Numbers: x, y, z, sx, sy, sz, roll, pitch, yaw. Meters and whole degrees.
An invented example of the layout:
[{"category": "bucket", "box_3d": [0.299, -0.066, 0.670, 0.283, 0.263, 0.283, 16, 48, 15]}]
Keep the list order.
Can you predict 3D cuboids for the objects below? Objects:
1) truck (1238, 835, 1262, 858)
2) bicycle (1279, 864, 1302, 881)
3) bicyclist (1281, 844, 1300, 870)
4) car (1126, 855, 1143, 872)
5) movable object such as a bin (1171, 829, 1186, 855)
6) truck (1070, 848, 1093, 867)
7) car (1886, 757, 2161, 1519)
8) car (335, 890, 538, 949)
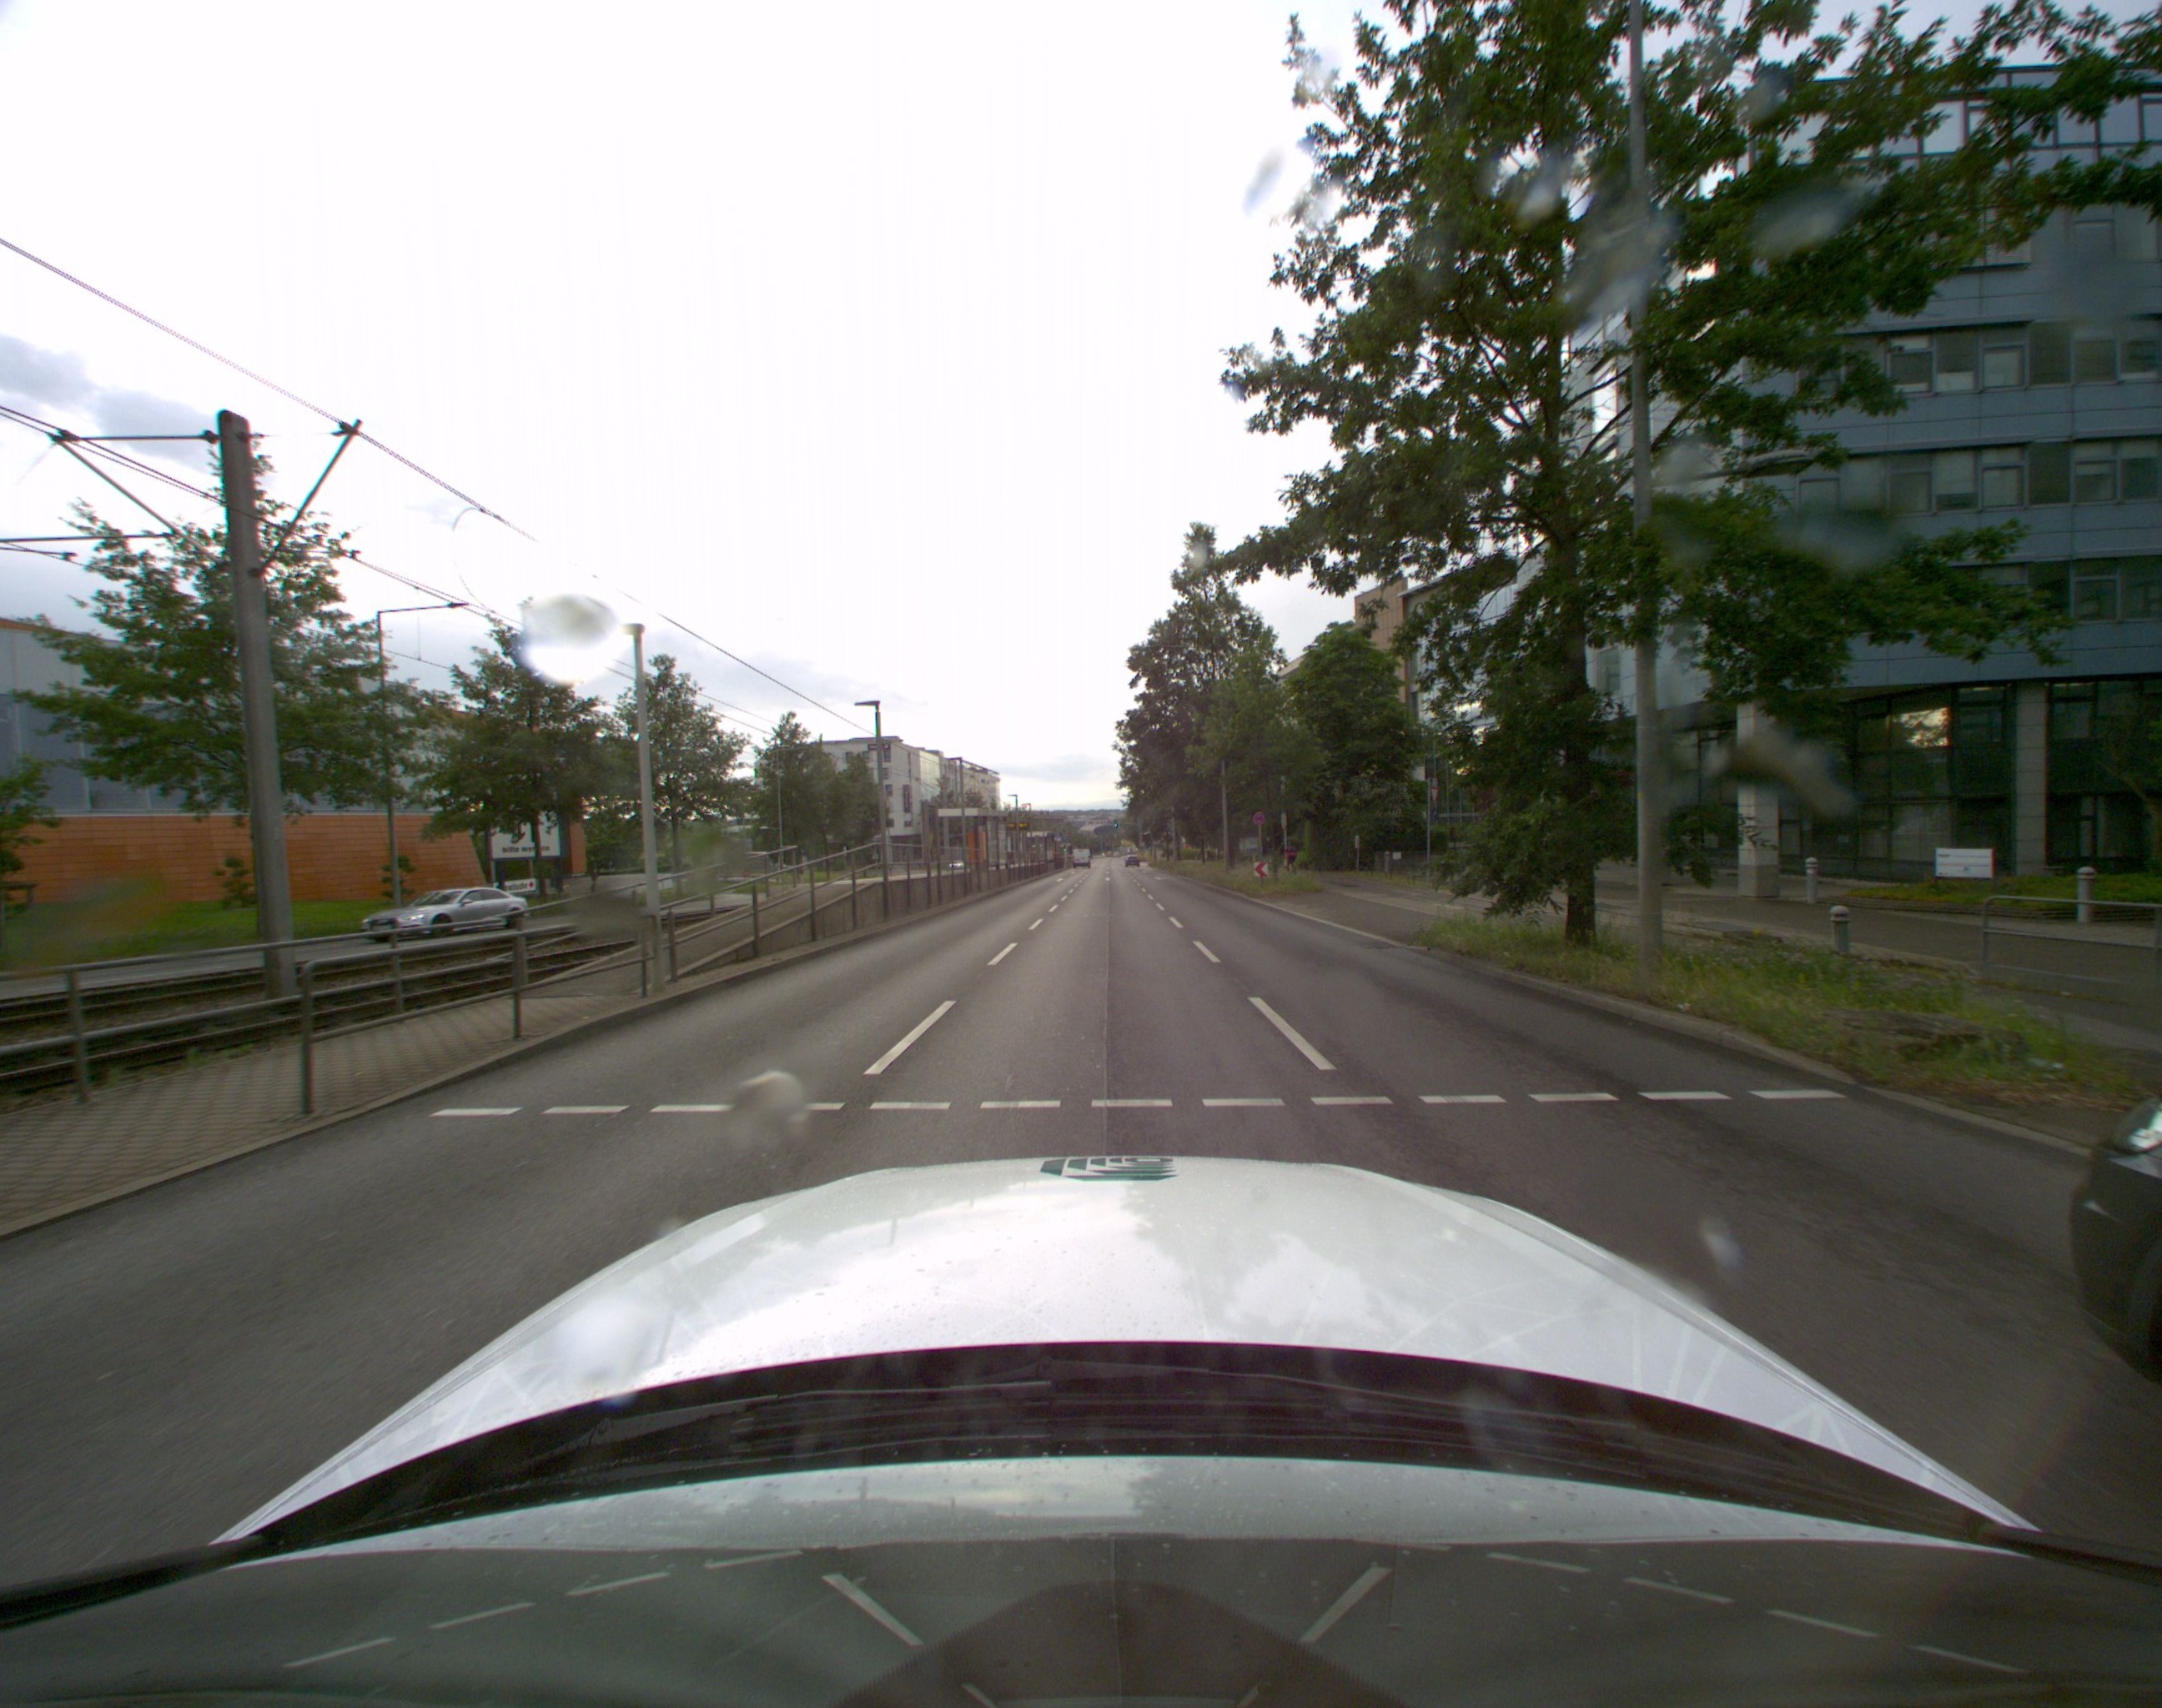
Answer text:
[{"category": "truck", "box_3d": [18.867, -0.820, 91.141, 1.741, 2.518, 3.997, 0, -1, -1]}, {"category": "bicycle", "box_3d": [10.487, 0.903, 40.827, 0.665, 0.809, 2.319, 0, -1, 2]}, {"category": "bicyclist", "box_3d": [10.485, 0.132, 40.794, 0.653, 1.288, 1.220, 0, 0, 2]}, {"category": "car", "box_3d": [6.708, 1.200, 102.177, 1.984, 2.014, 3.940, 0, -1, 5]}, {"category": "movable object such as a bin", "box_3d": [22.442, -2.723, 188.131, 3.274, 5.685, 8.776, 0, -1, 5]}, {"category": "truck", "box_3d": [0.099, 0.398, 98.793, 2.350, 2.262, 5.310, 0, -1, 3]}, {"category": "car", "box_3d": [3.204, 0.612, 0.182, 1.804, 1.670, 4.372, -1, 0, 2]}, {"category": "car", "box_3d": [-18.670, 1.841, 23.985, 1.986, 1.389, 4.875, 0, 0, 2]}]
